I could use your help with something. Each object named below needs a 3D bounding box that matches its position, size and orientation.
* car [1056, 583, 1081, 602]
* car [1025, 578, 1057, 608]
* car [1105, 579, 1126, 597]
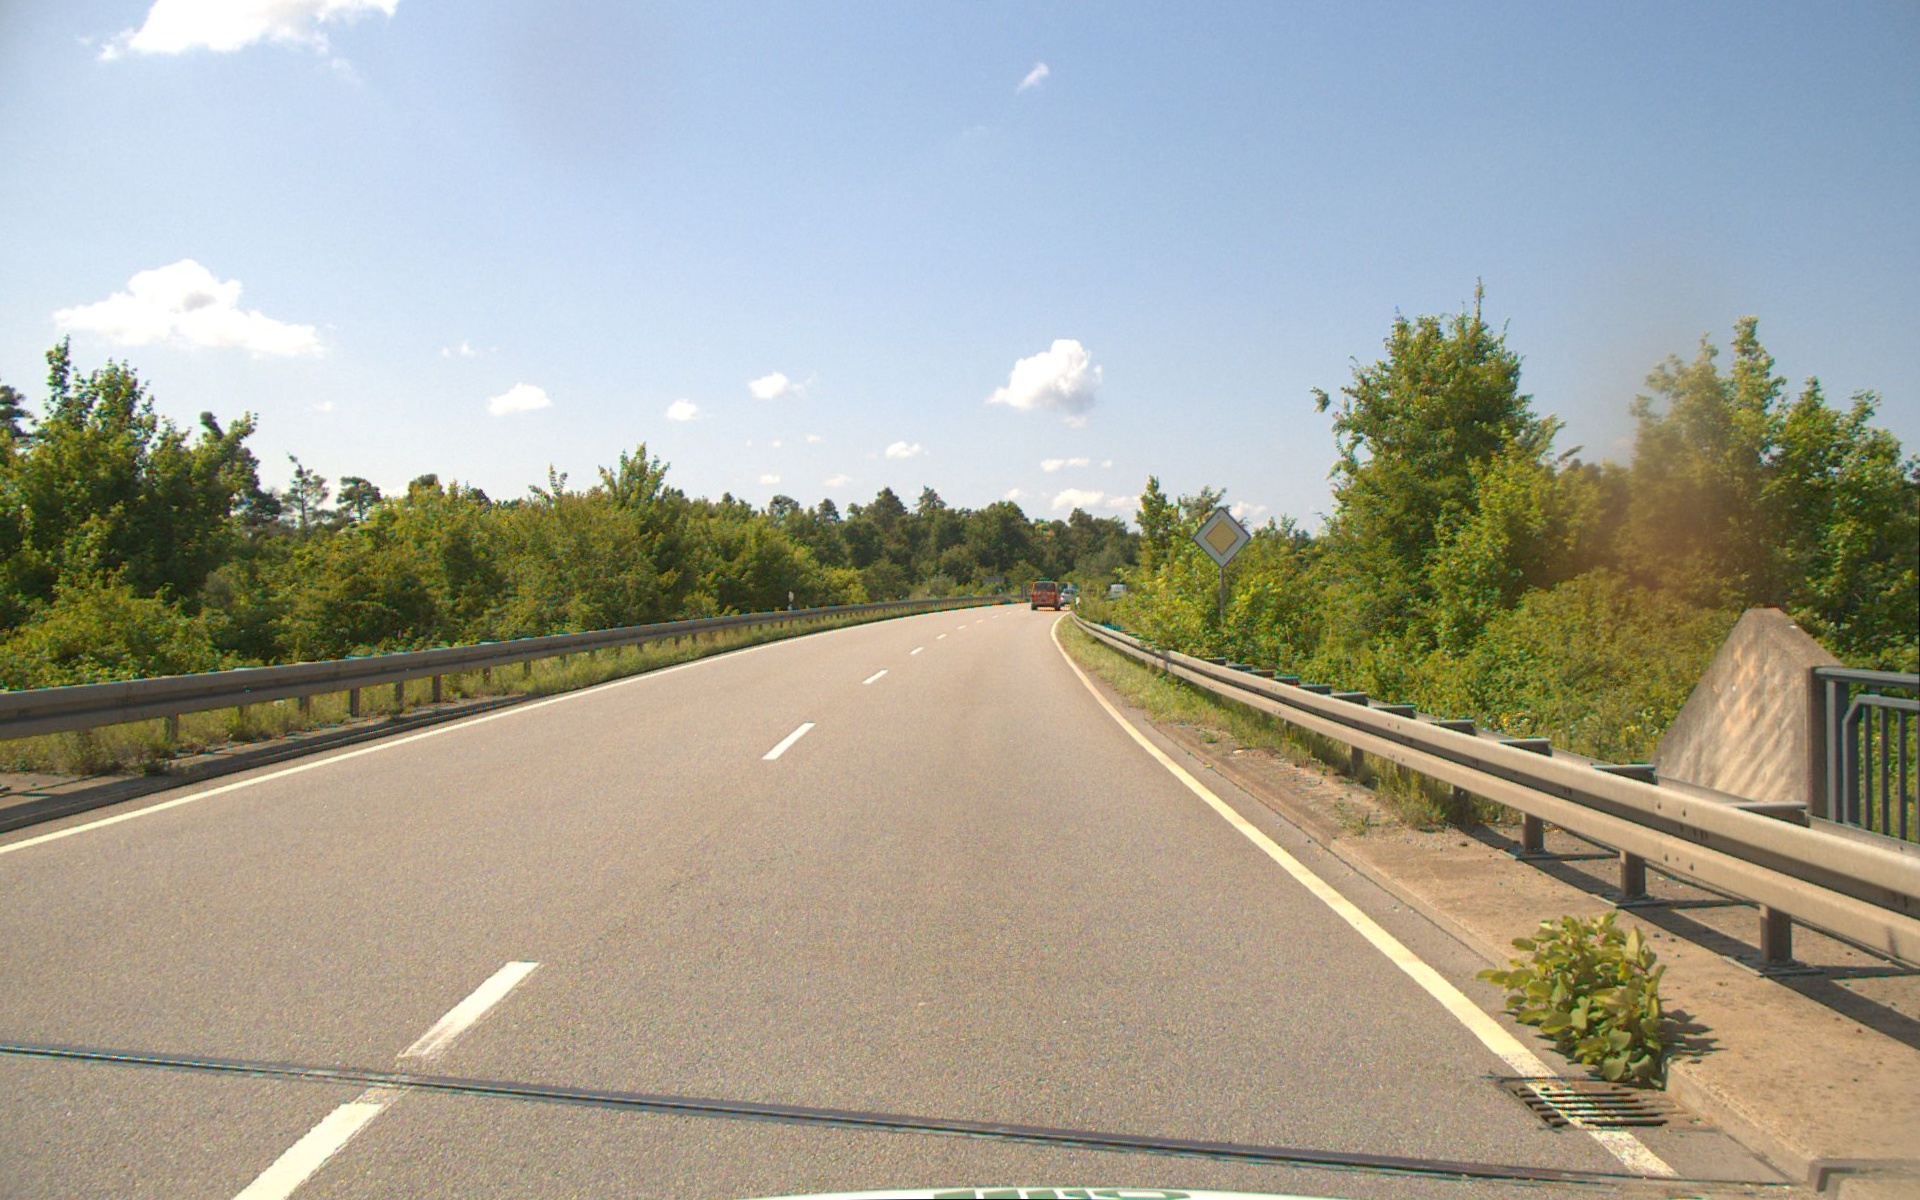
[{"bbox_3d":[8.947,-0.595,137.119,1.965,1.520,4.240,1,0,2],"label":"car"},{"bbox_3d":[5.571,-0.471,114.165,2.034,2.028,5.113,1,0,2],"label":"car"},{"bbox_3d":[18.362,-1.407,195.458,2.139,1.989,5.806,2,0,3],"label":"car"}]
